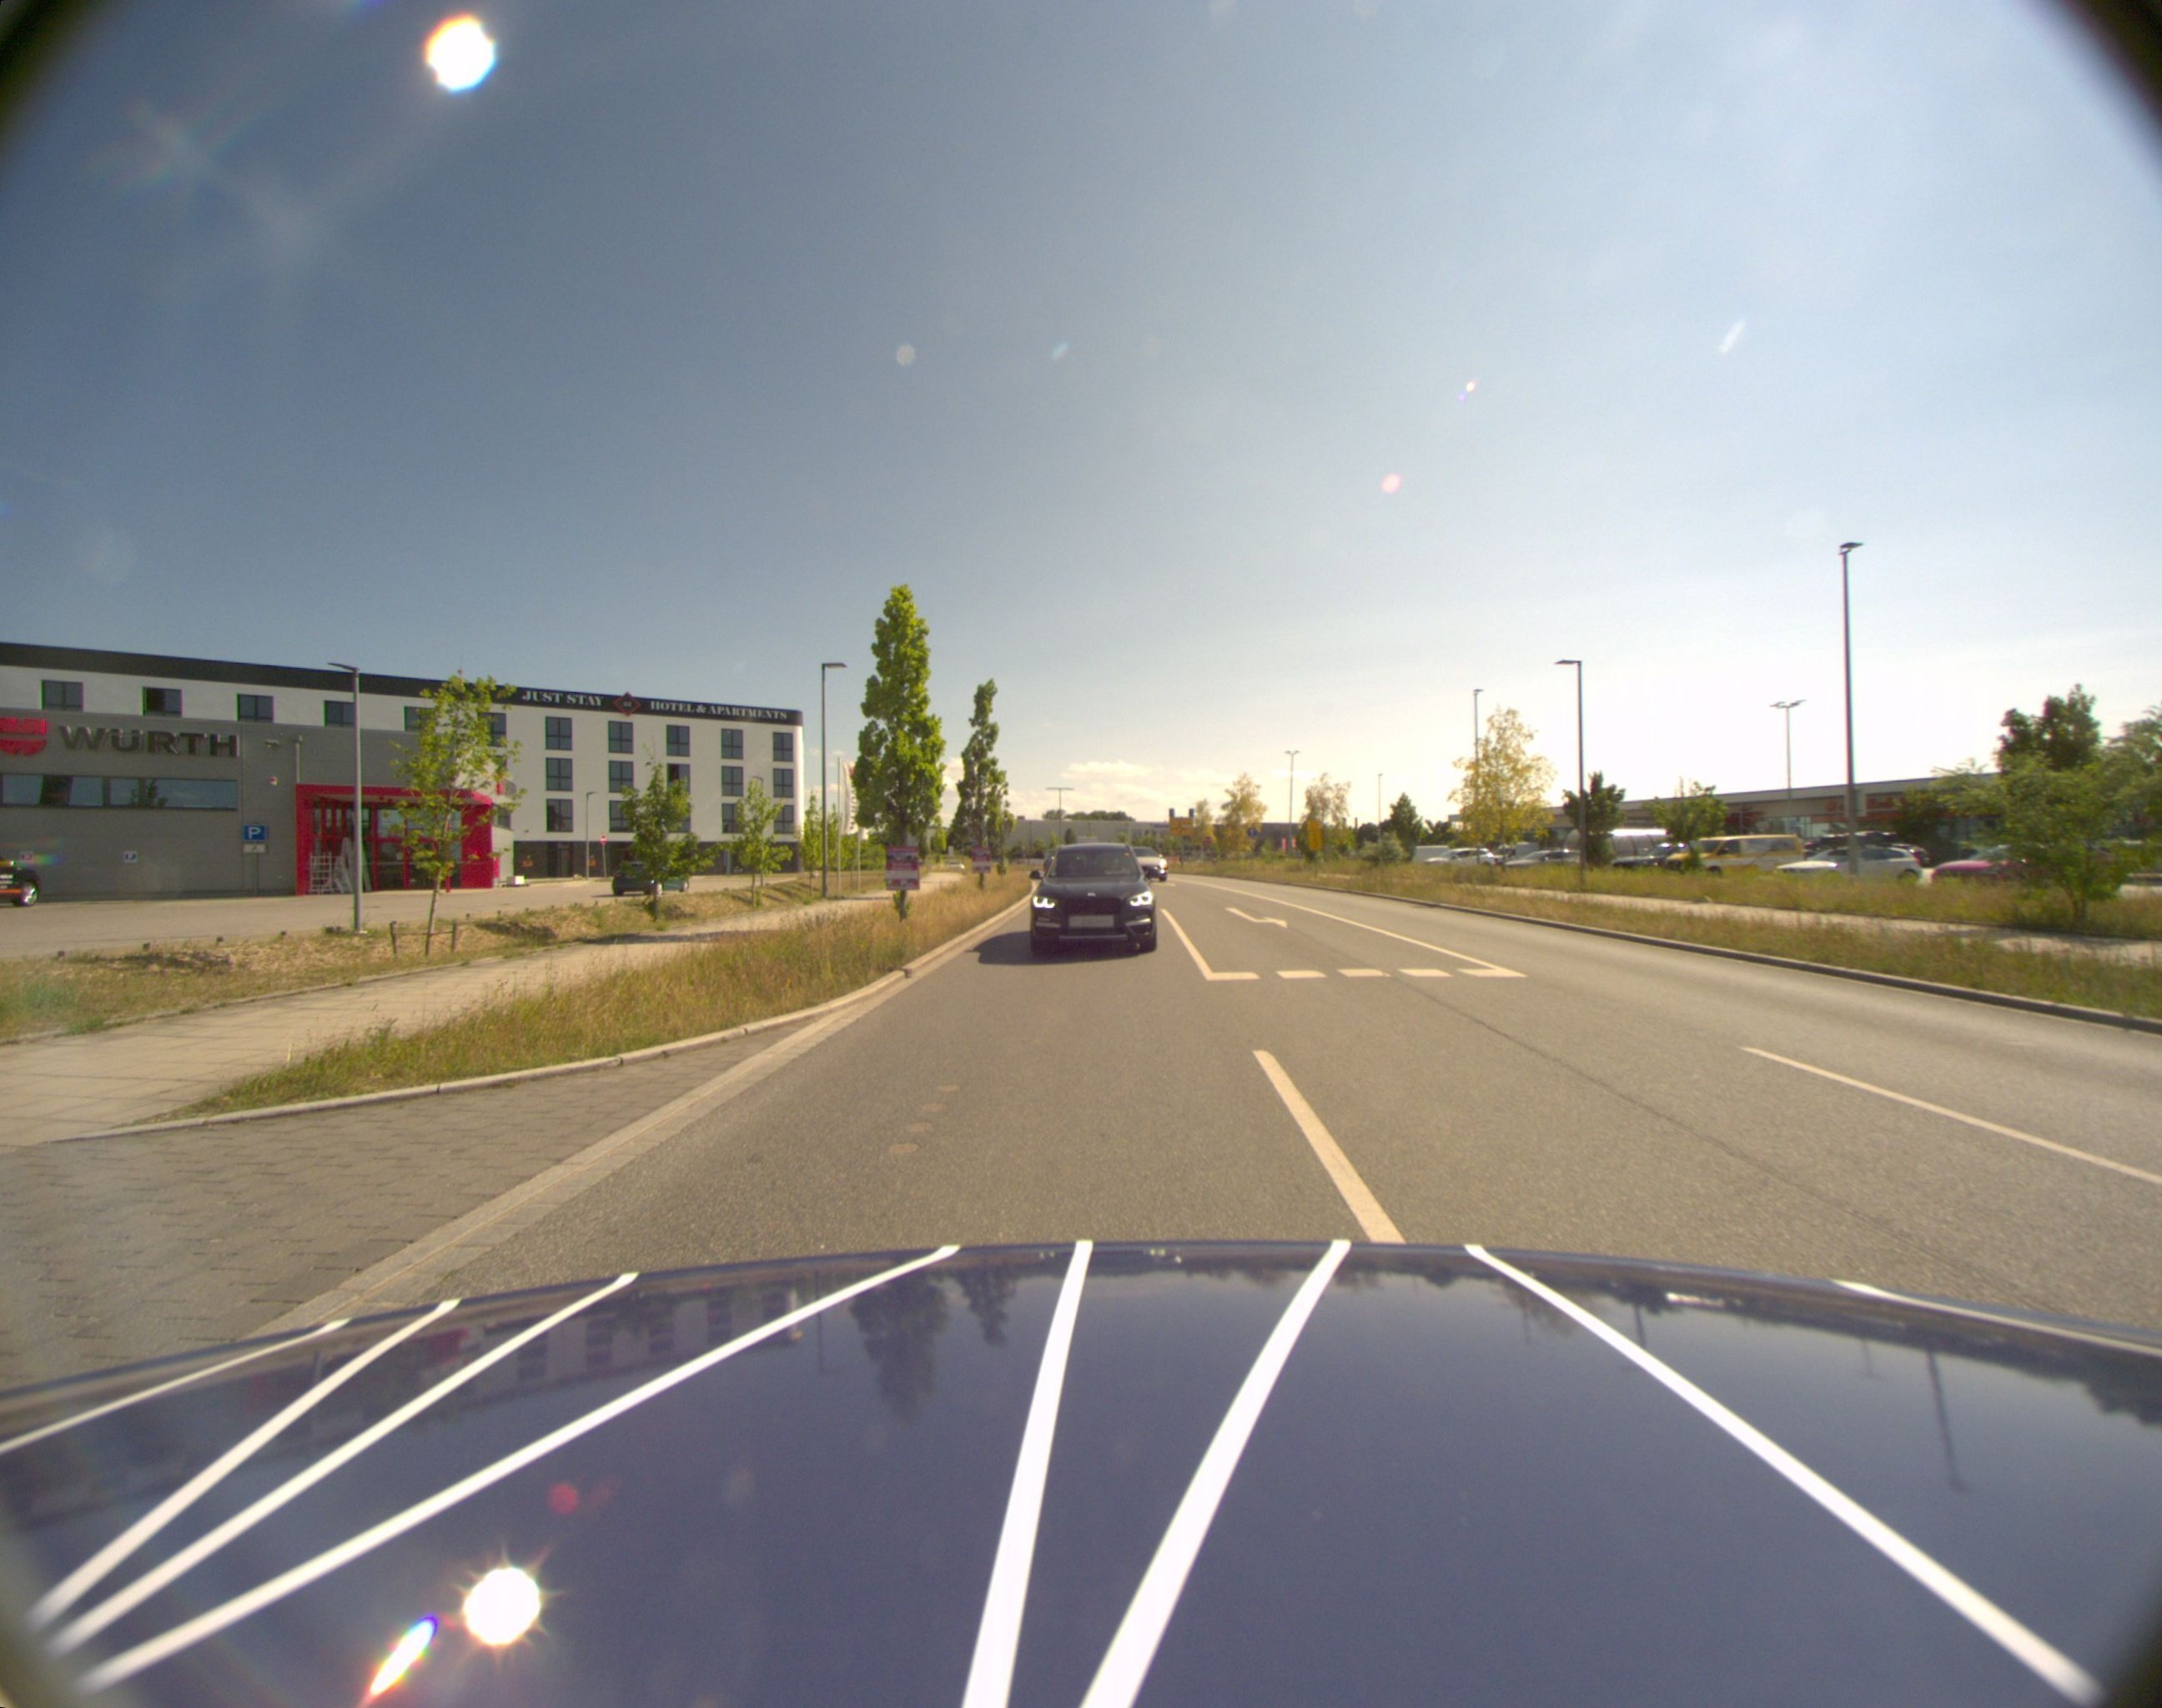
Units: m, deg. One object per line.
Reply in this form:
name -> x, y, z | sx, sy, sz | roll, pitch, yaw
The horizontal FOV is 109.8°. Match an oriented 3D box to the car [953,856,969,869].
car -> -14.699, 1.061, 93.510 | 1.787, 1.485, 3.997 | -1, 1, -7

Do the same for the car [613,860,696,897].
car -> -18.027, 0.996, 32.317 | 1.518, 1.399, 3.998 | -1, 0, -5

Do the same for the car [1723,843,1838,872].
car -> 38.638, 0.176, 42.104 | 1.719, 1.517, 4.347 | -1, 0, -21

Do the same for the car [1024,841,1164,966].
car -> 0.095, 0.731, 12.763 | 1.901, 1.669, 4.466 | -2, -1, -2

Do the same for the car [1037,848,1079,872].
car -> -1.711, 0.409, 54.942 | 1.759, 1.678, 4.374 | -1, 0, -19

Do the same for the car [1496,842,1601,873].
car -> 25.736, 0.189, 41.907 | 4.715, 1.662, 1.999 | -1, 0, -6

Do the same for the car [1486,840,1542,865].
car -> 45.530, -0.138, 79.844 | 5.725, 2.573, 1.936 | -1, 0, -22

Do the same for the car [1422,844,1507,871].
car -> 25.035, 0.198, 49.690 | 4.604, 1.662, 1.999 | -1, 0, -7

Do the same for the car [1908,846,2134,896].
car -> 27.225, 0.477, 22.120 | 4.154, 1.340, 1.936 | -1, 0, 1

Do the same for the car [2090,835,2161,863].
car -> 58.583, -0.295, 42.477 | 4.360, 1.510, 1.714 | -1, 0, -25

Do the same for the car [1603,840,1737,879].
car -> 26.533, 0.233, 34.283 | 4.782, 1.662, 1.881 | -1, 0, -5

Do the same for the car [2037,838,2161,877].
car -> 42.922, 0.136, 31.144 | 1.718, 1.517, 4.348 | -1, 0, -18

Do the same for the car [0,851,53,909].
car -> -34.470, 0.817, 23.020 | 2.052, 1.805, 4.913 | -1, 0, -29

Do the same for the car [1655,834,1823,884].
car -> 27.690, 0.193, 32.069 | 5.698, 1.953, 1.999 | -1, 0, -5

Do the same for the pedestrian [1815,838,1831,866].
pedestrian -> 39.121, -0.088, 40.077 | 0.510, 1.456, 0.413 | -1, 1, -18

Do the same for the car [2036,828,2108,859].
car -> 59.165, -0.640, 45.349 | 4.360, 1.797, 1.714 | -1, 0, -25

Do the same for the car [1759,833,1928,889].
car -> 26.979, 0.237, 26.985 | 4.155, 1.850, 1.932 | -1, 0, -1

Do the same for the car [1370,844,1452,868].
car -> 23.744, 0.123, 54.709 | 5.199, 1.662, 1.998 | -1, 0, -13

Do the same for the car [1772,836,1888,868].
car -> 43.543, -0.108, 44.336 | 1.718, 1.731, 4.577 | -1, 0, -17

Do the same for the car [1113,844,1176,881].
car -> 2.990, 0.447, 37.076 | 2.115, 1.633, 4.775 | -2, -1, -7
